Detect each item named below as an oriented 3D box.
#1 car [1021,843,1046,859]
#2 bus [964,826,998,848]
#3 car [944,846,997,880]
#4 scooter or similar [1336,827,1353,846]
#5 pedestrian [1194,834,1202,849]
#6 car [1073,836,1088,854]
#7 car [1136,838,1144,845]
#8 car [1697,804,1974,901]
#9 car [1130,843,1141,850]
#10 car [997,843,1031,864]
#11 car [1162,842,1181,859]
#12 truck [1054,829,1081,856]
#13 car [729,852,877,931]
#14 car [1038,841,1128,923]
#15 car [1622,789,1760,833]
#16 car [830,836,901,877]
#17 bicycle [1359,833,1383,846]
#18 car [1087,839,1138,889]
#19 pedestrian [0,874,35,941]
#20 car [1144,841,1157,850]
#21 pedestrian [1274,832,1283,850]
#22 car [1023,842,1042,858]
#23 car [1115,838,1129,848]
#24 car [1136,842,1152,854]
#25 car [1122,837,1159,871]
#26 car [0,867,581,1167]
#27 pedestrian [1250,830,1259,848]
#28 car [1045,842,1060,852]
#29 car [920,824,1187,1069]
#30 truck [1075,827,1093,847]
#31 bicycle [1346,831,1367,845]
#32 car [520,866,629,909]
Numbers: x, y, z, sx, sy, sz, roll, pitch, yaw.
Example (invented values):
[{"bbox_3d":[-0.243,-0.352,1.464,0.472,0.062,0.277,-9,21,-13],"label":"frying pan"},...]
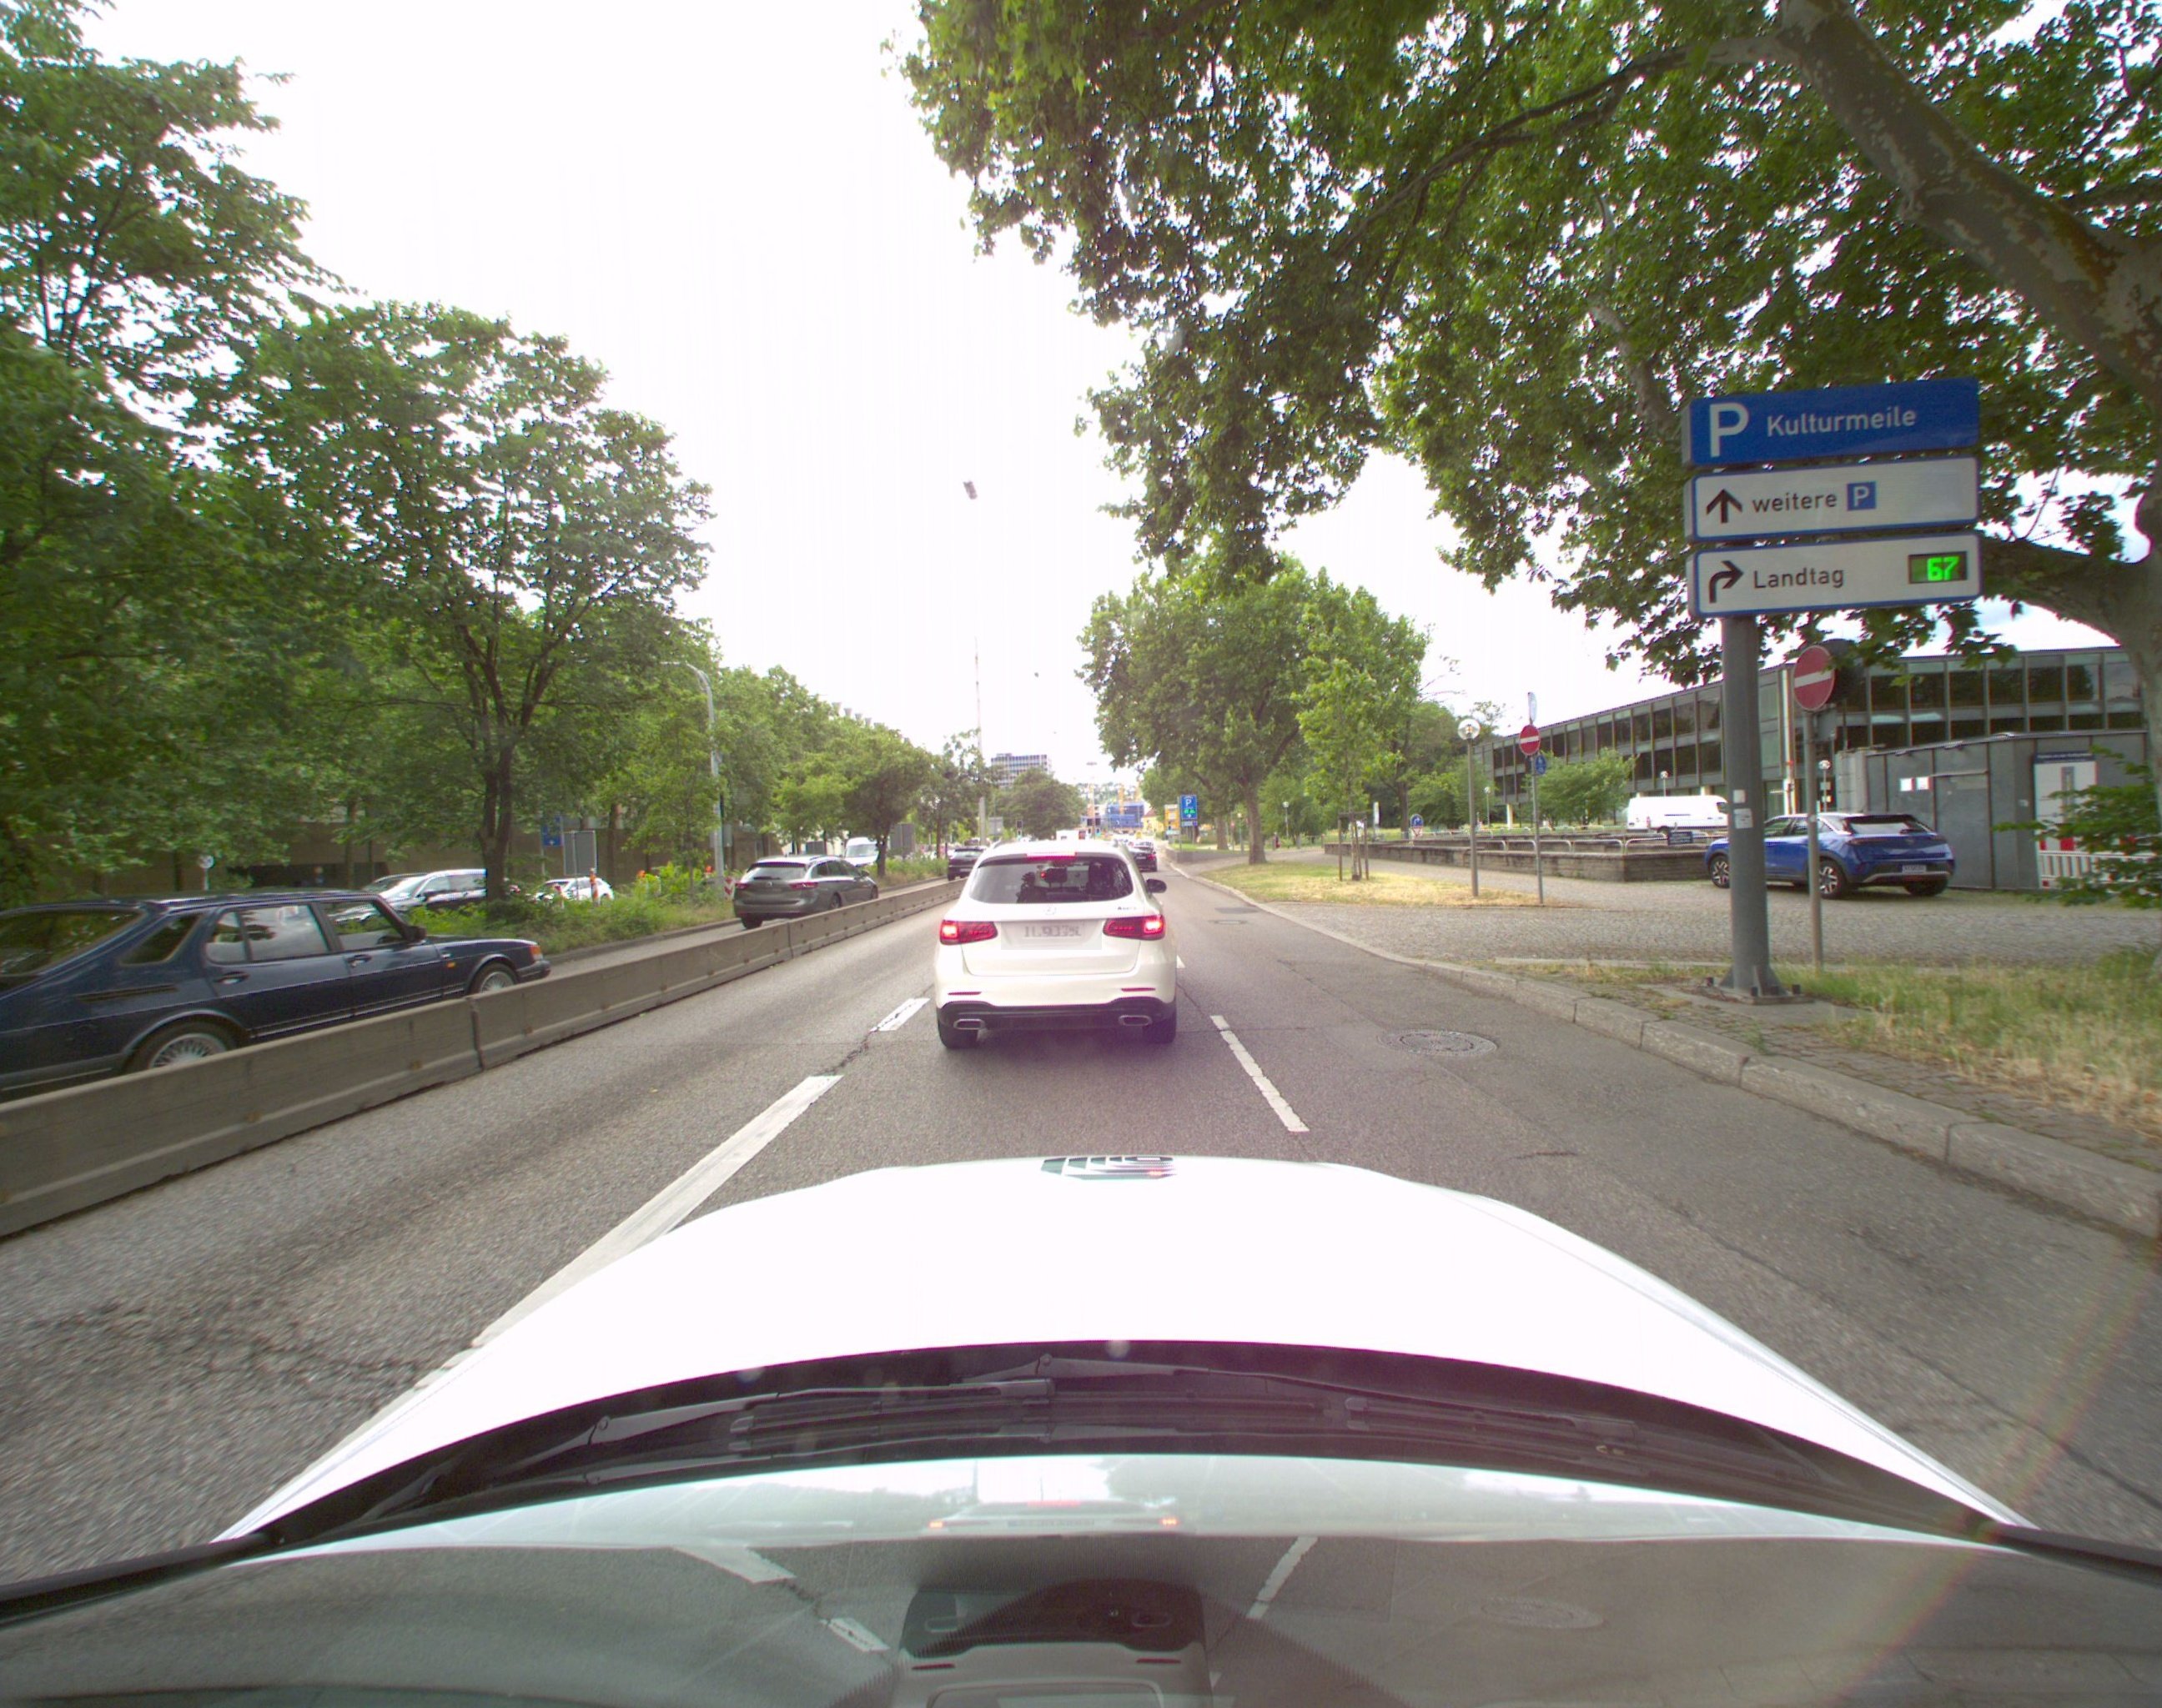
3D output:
[{"bbox_3d":[-4.082,-0.262,70.674,1.651,1.319,3.552,-1,0,5],"label":"car"},{"bbox_3d":[-16.231,-2.761,133.509,3.656,3.205,14.271,-2,1,0],"label":"bus"},{"bbox_3d":[-5.187,0.405,38.604,1.769,1.420,4.002,-2,1,2],"label":"car"},{"bbox_3d":[18.546,-1.212,57.370,0.633,1.245,2.228,0,0,4],"label":"scooter or similar"},{"bbox_3d":[15.695,-1.701,109.430,0.752,2.013,0.703,-2,1,38],"label":"pedestrian"},{"bbox_3d":[-0.029,-1.351,116.994,1.986,2.475,4.002,-2,1,2],"label":"car"},{"bbox_3d":[13.968,-2.912,192.242,1.752,1.669,4.170,-2,1,2],"label":"car"},{"bbox_3d":[14.001,-0.121,15.490,1.752,1.551,4.032,-2,3,4],"label":"car"},{"bbox_3d":[10.168,-1.442,151.837,1.939,1.319,4.020,-1,0,3],"label":"car"},{"bbox_3d":[-4.543,-0.052,55.626,1.651,1.319,3.552,-1,0,5],"label":"car"},{"bbox_3d":[10.658,-0.423,96.076,1.985,2.013,4.003,-1,0,3],"label":"car"},{"bbox_3d":[-1.386,-1.244,88.738,2.612,2.861,7.080,-1,1,1],"label":"truck"},{"bbox_3d":[-5.707,0.700,17.251,1.655,1.436,3.962,-1,0,1],"label":"car"},{"bbox_3d":[-0.035,0.551,18.431,1.791,1.608,3.751,-1,0,-3],"label":"car"},{"bbox_3d":[35.254,-2.461,47.228,6.081,2.260,2.404,-2,1,3],"label":"car"},{"bbox_3d":[-11.548,0.077,44.052,2.107,1.969,5.581,-2,1,2],"label":"car"},{"bbox_3d":[22.783,-1.151,64.034,0.950,0.975,2.788,0,0,1],"label":"bicycle"},{"bbox_3d":[1.078,0.334,29.359,1.654,1.639,3.546,-1,0,-1],"label":"car"},{"bbox_3d":[-32.990,1.640,25.132,0.449,2.013,0.665,-2,0,2],"label":"pedestrian"},{"bbox_3d":[10.927,-1.392,127.733,1.939,1.319,4.020,-1,0,3],"label":"car"},{"bbox_3d":[17.579,-1.148,72.466,0.632,1.610,0.667,-2,1,26],"label":"pedestrian"},{"bbox_3d":[-4.753,-0.393,80.205,1.655,1.513,3.545,-2,1,-2],"label":"car"},{"bbox_3d":[5.949,-1.592,117.835,1.939,1.319,4.020,-1,0,3],"label":"car"},{"bbox_3d":[8.161,-0.743,105.010,1.939,1.428,4.020,-1,0,3],"label":"car"},{"bbox_3d":[3.256,-0.014,45.188,1.818,1.752,4.002,-2,1,1],"label":"car"},{"bbox_3d":[-6.202,0.885,6.318,1.672,1.366,4.545,-2,1,1],"label":"car"},{"bbox_3d":[16.817,-1.458,79.027,0.754,1.724,0.701,-2,0,10],"label":"pedestrian"},{"bbox_3d":[-3.791,-0.913,108.334,1.652,1.319,3.550,-1,0,3],"label":"car"},{"bbox_3d":[-0.176,0.612,7.832,1.782,1.625,4.437,-2,1,0],"label":"car"},{"bbox_3d":[0.521,-2.550,123.353,2.682,2.991,5.639,0,0,1],"label":"truck"},{"bbox_3d":[21.587,-1.267,63.911,0.950,1.063,2.336,0,0,1],"label":"bicycle"},{"bbox_3d":[-21.538,1.380,34.842,1.639,1.526,4.525,-2,1,2],"label":"car"}]
